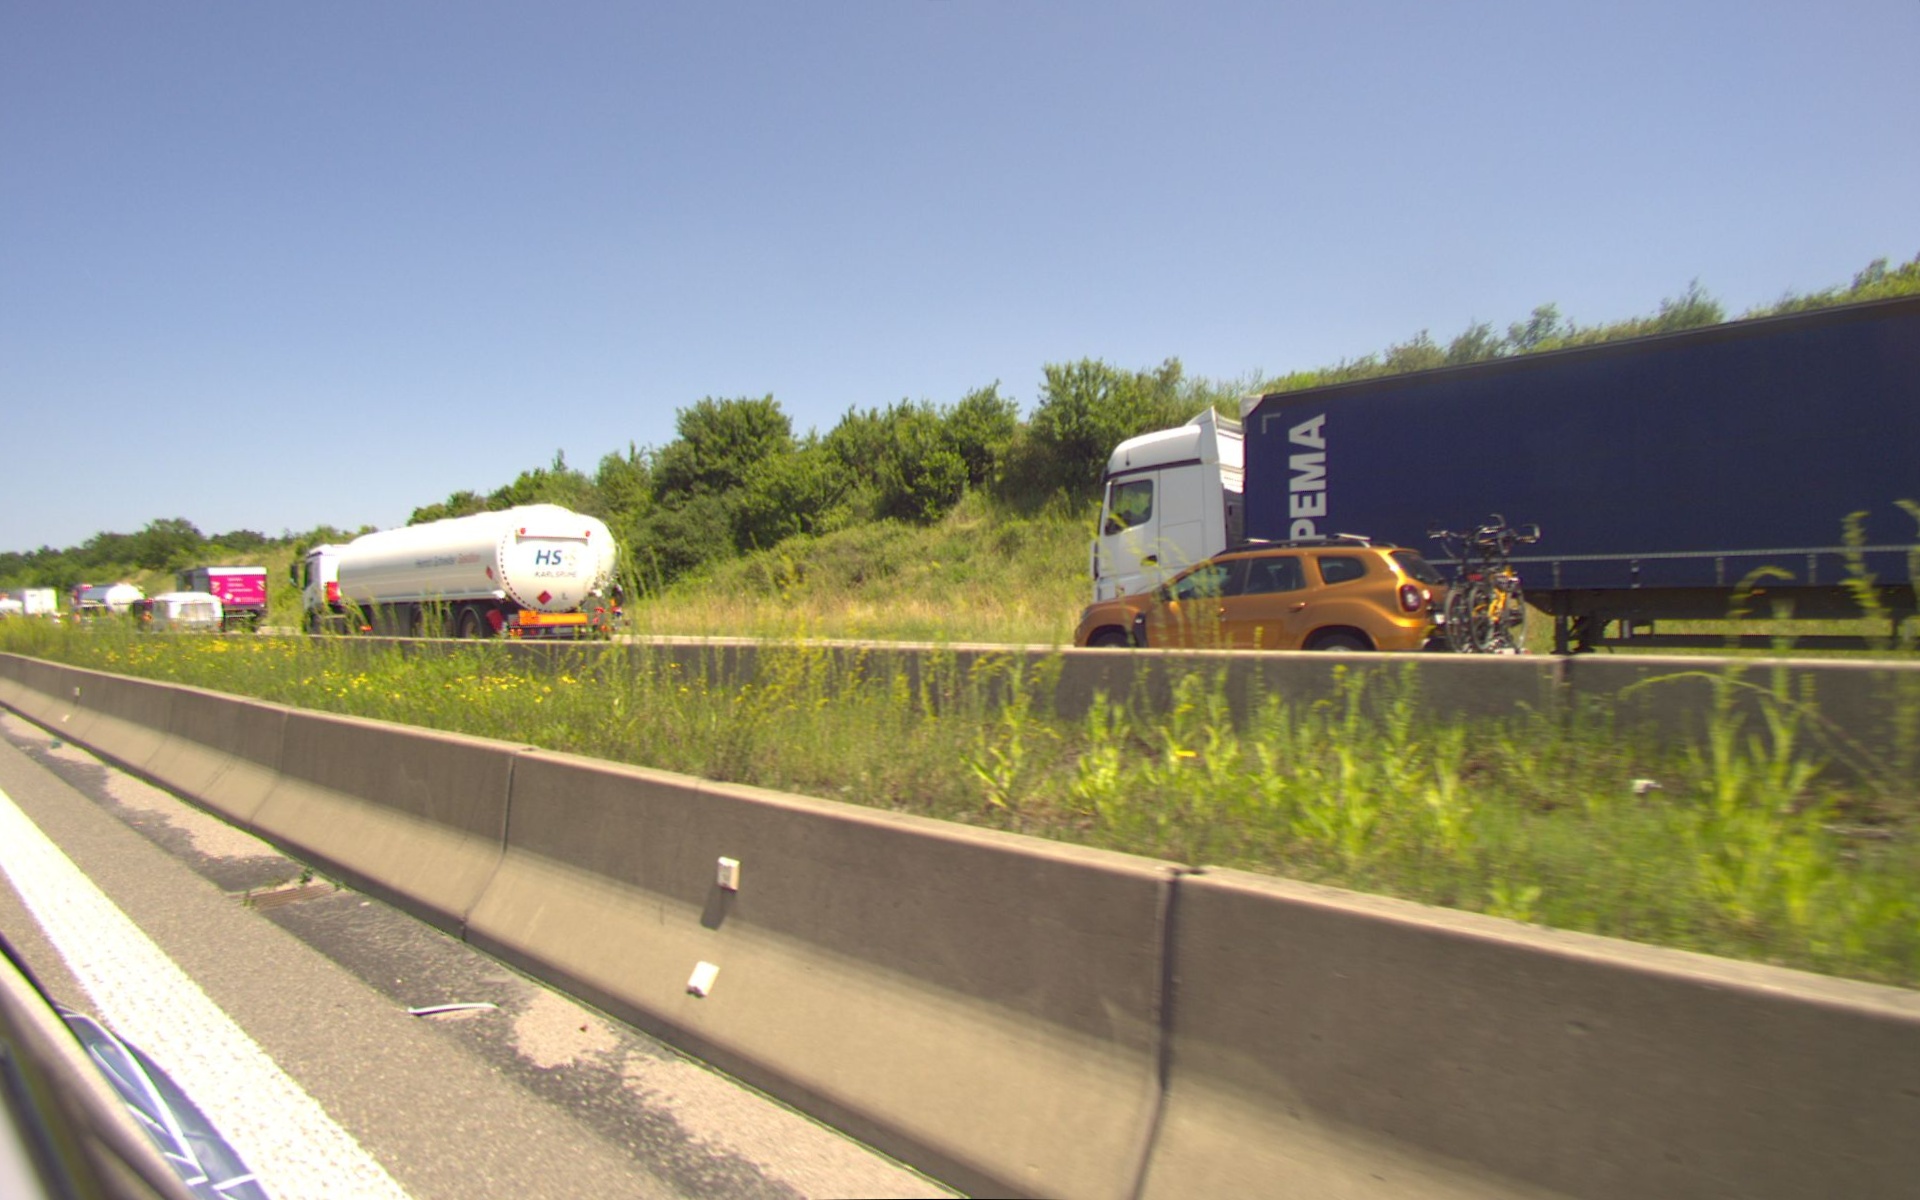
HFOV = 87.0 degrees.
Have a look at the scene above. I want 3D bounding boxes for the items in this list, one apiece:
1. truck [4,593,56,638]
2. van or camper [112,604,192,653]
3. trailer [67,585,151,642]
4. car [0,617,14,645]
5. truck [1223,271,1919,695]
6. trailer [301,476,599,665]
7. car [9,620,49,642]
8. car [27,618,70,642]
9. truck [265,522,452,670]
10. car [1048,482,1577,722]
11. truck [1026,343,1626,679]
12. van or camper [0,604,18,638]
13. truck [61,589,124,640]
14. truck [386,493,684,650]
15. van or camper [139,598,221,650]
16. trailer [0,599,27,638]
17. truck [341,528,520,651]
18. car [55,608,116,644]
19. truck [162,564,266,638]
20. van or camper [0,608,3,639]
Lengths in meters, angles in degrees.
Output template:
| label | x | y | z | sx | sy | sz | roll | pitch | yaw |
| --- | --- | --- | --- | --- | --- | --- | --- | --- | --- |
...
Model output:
| label | x | y | z | sx | sy | sz | roll | pitch | yaw |
| --- | --- | --- | --- | --- | --- | --- | --- | --- | --- |
| truck | -96.968 | 1.600 | 105.475 | 12.417 | 4.357 | 2.495 | -1 | 2 | 41 |
| van or camper | -39.109 | 1.355 | 48.930 | 5.952 | 2.169 | 1.973 | -1 | 0 | 41 |
| trailer | -65.125 | 1.014 | 77.326 | 12.265 | 3.979 | 2.653 | -1 | 2 | 40 |
| car | -58.833 | 1.902 | 61.292 | 4.852 | 1.595 | 1.736 | -1 | 2 | 42 |
| truck | 10.646 | -1.173 | 11.065 | 15.000 | 4.124 | 3.541 | -2 | -1 | 42 |
| trailer | -13.578 | -0.508 | 26.132 | 11.638 | 3.980 | 2.652 | -1 | -1 | 41 |
| car | -72.057 | 2.392 | 78.309 | 4.783 | 1.595 | 1.736 | -1 | 2 | 42 |
| car | -63.905 | 2.054 | 70.931 | 4.187 | 1.561 | 1.736 | -1 | 1 | 42 |
| truck | -18.087 | -0.044 | 30.180 | 7.399 | 3.919 | 2.590 | -2 | 0 | 42 |
| car | 3.678 | 0.002 | 11.132 | 5.053 | 2.078 | 2.066 | -1 | 2 | 39 |
| truck | 5.315 | -0.937 | 15.860 | 8.142 | 3.939 | 3.472 | -1 | -3 | 42 |
| van or camper | -89.703 | 1.972 | 94.018 | 8.131 | 2.958 | 2.517 | -1 | 2 | 43 |
| truck | -69.743 | 1.146 | 81.295 | 6.028 | 3.851 | 2.755 | -1 | 2 | 40 |
| truck | -13.861 | -0.618 | 32.002 | 12.574 | 4.124 | 3.541 | -2 | 0 | 42 |
| van or camper | -34.891 | 1.052 | 45.230 | 4.715 | 2.169 | 1.973 | -1 | 0 | 41 |
| trailer | -113.079 | 2.234 | 119.596 | 11.994 | 4.342 | 2.585 | -1 | 2 | 41 |
| truck | -19.429 | -0.383 | 37.004 | 6.641 | 4.066 | 3.455 | -1 | 3 | 41 |
| car | -51.762 | 1.531 | 59.858 | 5.092 | 1.972 | 2.002 | -1 | 1 | 42 |
| truck | -41.350 | 0.093 | 55.962 | 9.934 | 3.702 | 2.518 | -1 | 1 | 42 |
| van or camper | -98.310 | 2.419 | 101.662 | 7.827 | 2.958 | 2.517 | -1 | 2 | 43 |
